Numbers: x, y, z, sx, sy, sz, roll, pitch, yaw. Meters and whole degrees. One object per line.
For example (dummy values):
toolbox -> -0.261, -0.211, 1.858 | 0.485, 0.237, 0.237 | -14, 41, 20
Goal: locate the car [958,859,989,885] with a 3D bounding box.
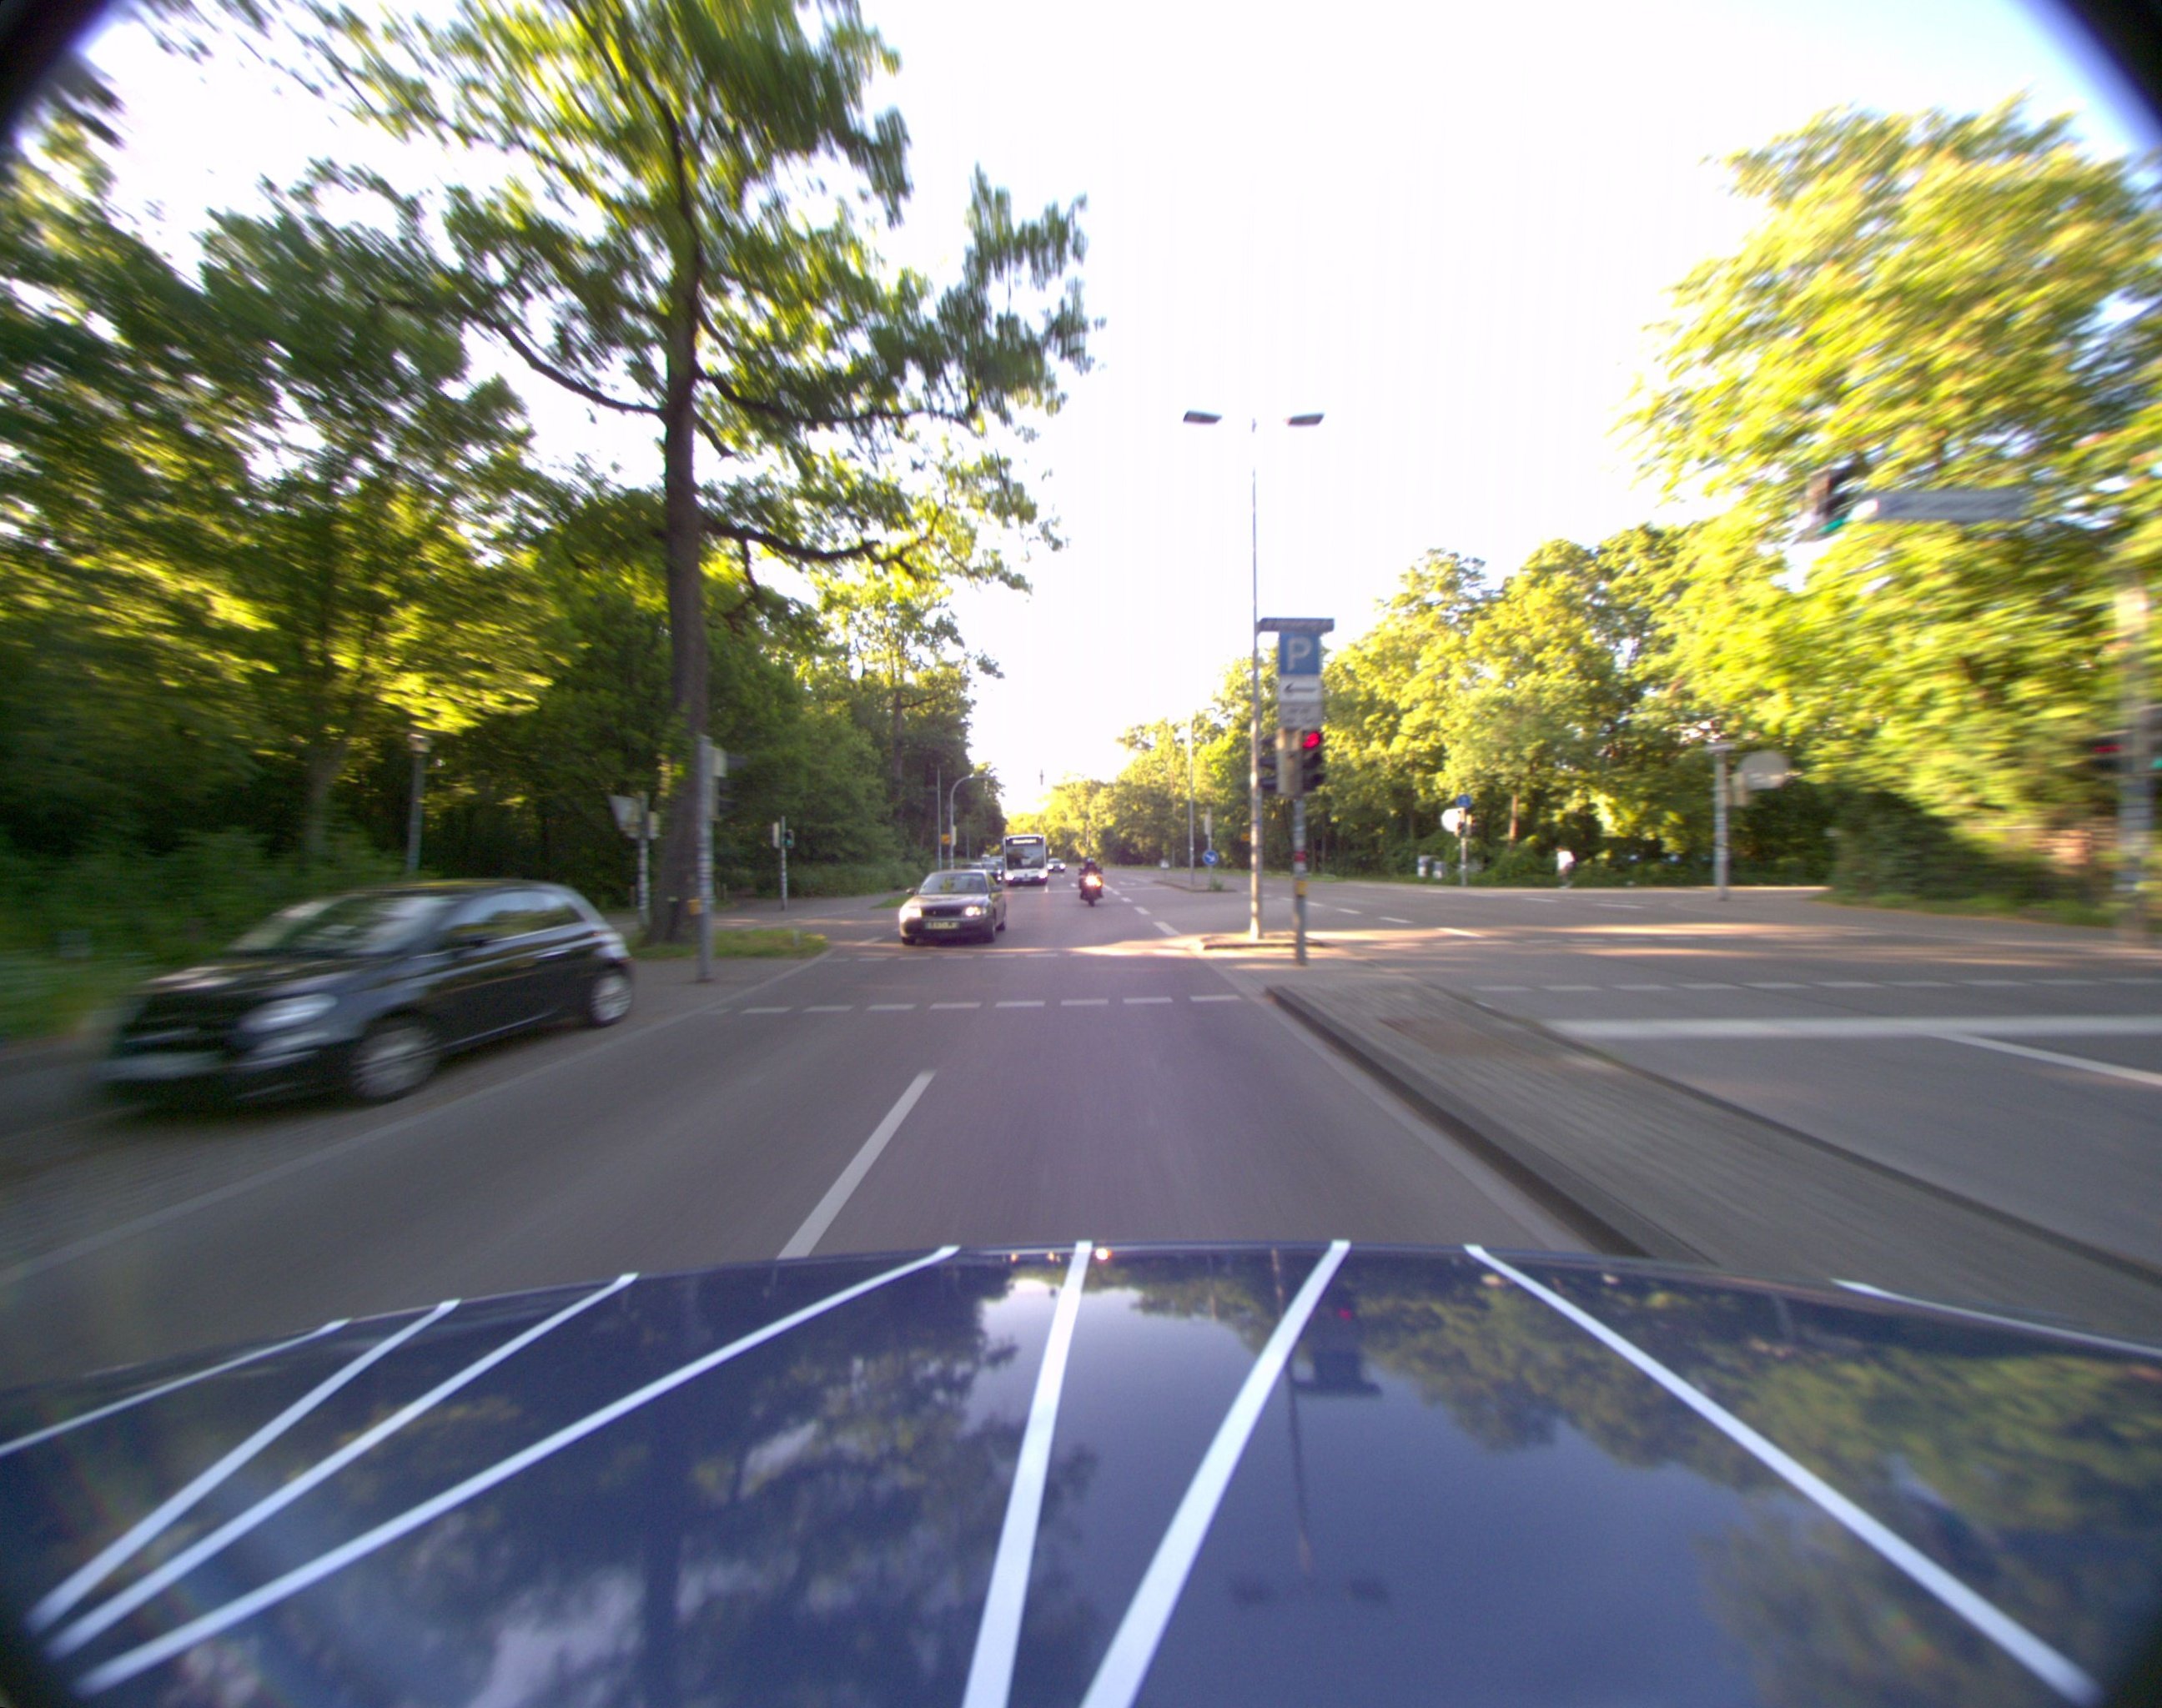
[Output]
car -> -6.626, 1.071, 47.112 | 1.723, 1.460, 3.871 | 0, 1, -5

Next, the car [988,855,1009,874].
car -> -7.524, 0.969, 69.567 | 1.820, 1.624, 3.827 | 0, 1, -4

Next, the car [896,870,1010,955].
car -> -2.457, 1.082, 15.481 | 1.679, 1.351, 3.993 | -2, 0, -1

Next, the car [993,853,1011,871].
car -> -8.785, 0.838, 84.535 | 1.820, 1.910, 5.264 | -2, 1, -6

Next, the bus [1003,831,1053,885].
bus -> -3.451, 0.242, 50.468 | 2.813, 3.030, 12.882 | -2, 0, -3

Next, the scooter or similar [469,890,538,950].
scooter or similar -> -11.962, 1.342, 15.762 | 0.378, 1.137, 1.224 | -1, 0, 6

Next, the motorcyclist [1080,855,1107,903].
motorcyclist -> 0.405, 0.796, 24.566 | 0.830, 1.484, 1.024 | -1, 1, 1

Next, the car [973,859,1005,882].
car -> -6.337, 1.114, 52.828 | 1.766, 1.460, 5.115 | 0, 1, -1

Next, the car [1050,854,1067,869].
car -> -2.468, 0.840, 82.776 | 1.679, 1.552, 3.993 | -2, 0, -3

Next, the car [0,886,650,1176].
car -> -5.480, 1.084, 6.193 | 1.722, 1.460, 3.756 | 0, 1, 1

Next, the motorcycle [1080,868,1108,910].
motorcycle -> 0.417, 1.104, 24.574 | 0.830, 1.211, 2.603 | -1, 0, 1

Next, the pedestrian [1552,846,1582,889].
pedestrian -> 19.354, 0.536, 30.284 | 0.649, 1.701, 0.819 | -1, 1, -2
